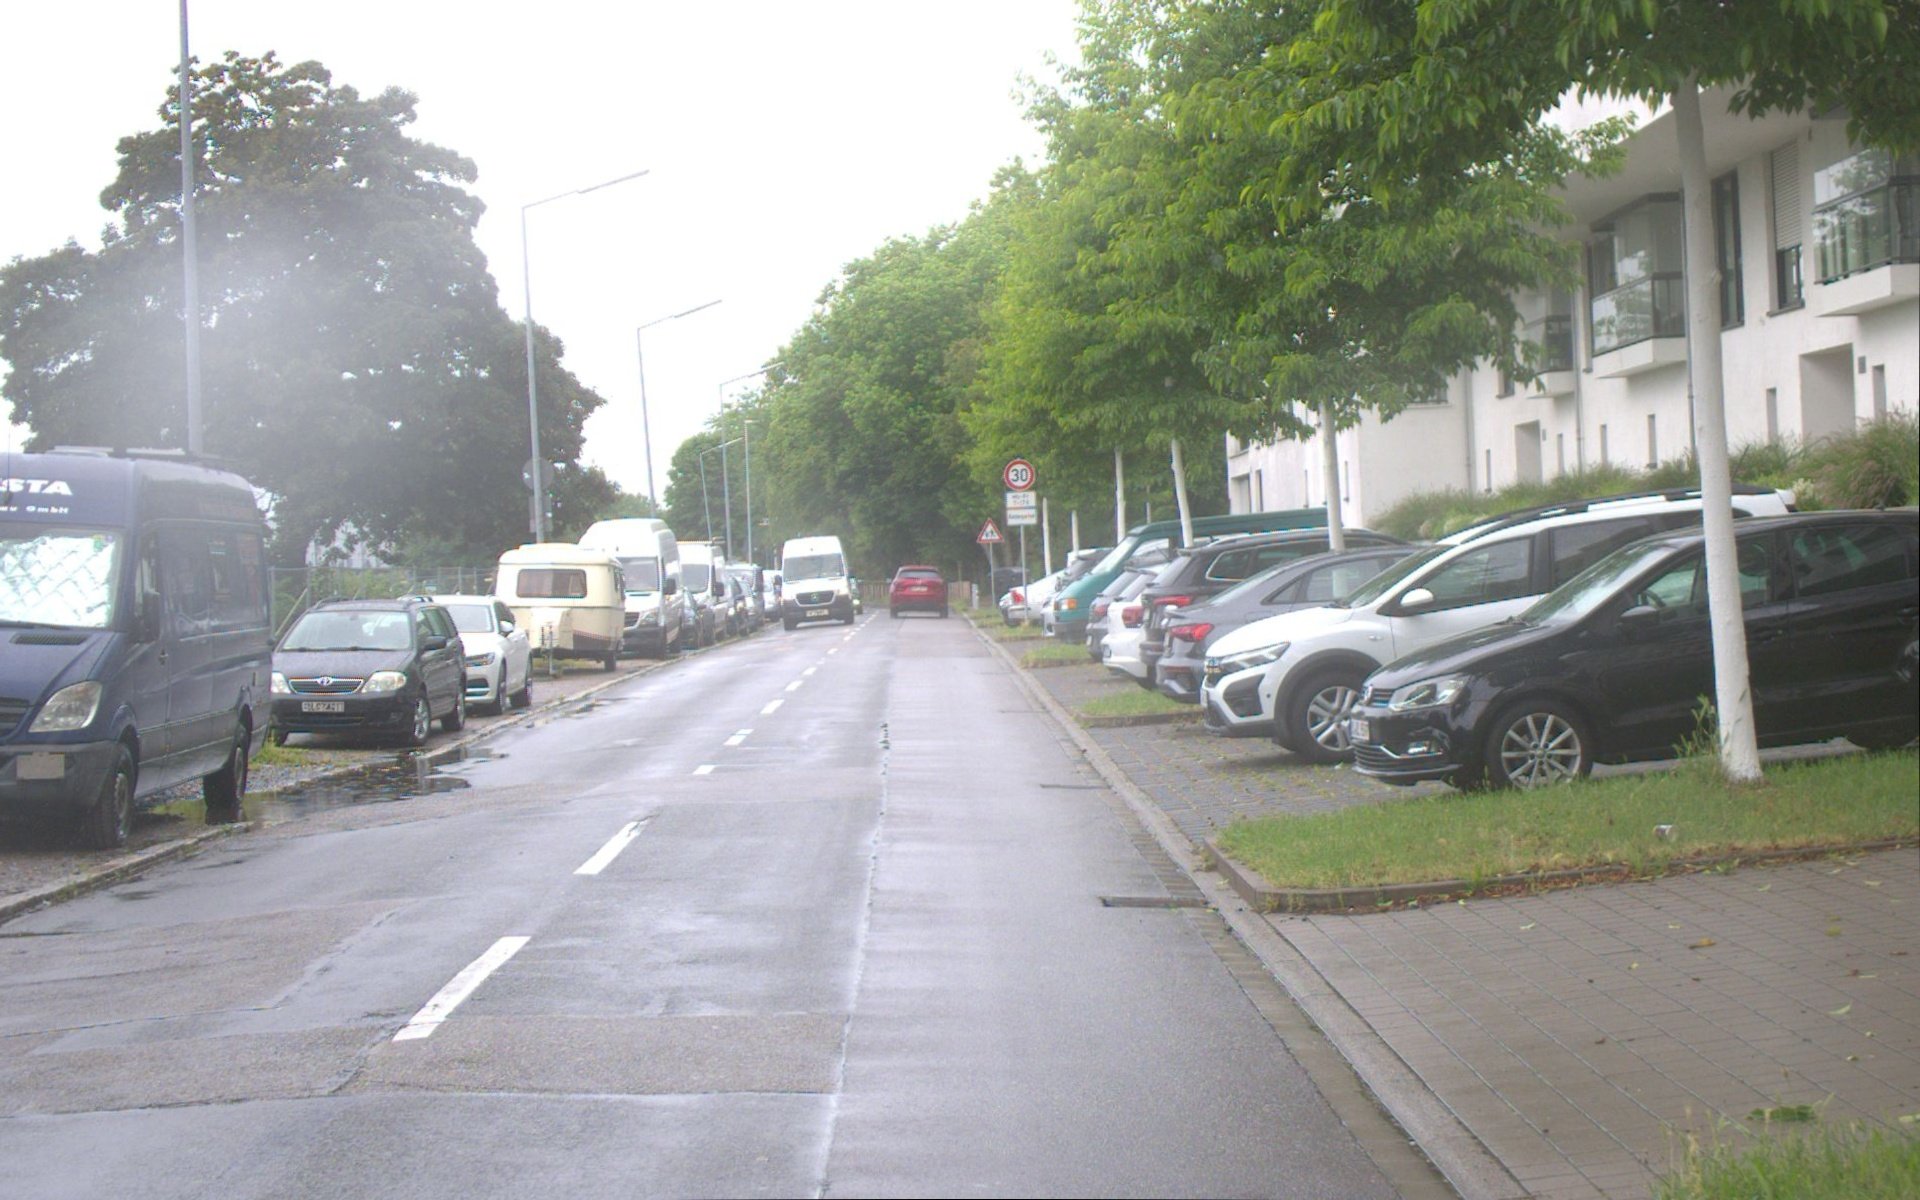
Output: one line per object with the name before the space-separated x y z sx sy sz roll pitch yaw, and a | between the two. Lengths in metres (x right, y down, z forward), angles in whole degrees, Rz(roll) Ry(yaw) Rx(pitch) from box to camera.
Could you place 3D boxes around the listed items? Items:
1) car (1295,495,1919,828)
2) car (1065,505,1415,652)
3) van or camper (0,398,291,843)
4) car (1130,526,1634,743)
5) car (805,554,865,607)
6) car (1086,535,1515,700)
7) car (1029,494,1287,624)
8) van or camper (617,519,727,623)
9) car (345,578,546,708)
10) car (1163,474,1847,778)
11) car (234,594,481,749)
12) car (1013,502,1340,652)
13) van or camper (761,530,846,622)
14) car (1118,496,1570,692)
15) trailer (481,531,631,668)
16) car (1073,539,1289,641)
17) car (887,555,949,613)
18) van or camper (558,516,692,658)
car | 4.102 0.291 19.635 3.987 1.490 1.937 -5 1 -4
car | 3.432 -0.268 42.573 4.030 1.494 1.632 -4 1 -3
van or camper | -6.459 0.122 24.698 2.094 2.706 7.575 0 0 -2
car | 3.551 0.271 29.409 3.987 1.504 1.684 -4 2 -1
car | -4.412 -0.706 121.691 1.882 1.751 4.068 -3 1 1
car | 3.610 0.174 36.897 4.298 1.423 1.637 -4 1 -2
car | 3.266 -0.686 57.273 4.094 1.888 1.726 -4 1 1
van or camper | -7.105 -0.712 85.439 2.189 2.453 6.377 -1 0 0
car | -6.383 0.495 43.160 1.887 1.520 5.110 0 1 -1
car | 3.863 0.158 24.921 4.476 1.681 1.936 -6 1 -2
car | -6.329 0.706 36.596 1.774 1.497 4.828 0 1 0
car | 3.225 -0.347 51.825 4.617 2.012 1.858 -3 0 -4
van or camper | -4.541 -0.718 100.864 1.993 2.488 7.178 -3 1 0
car | 3.806 -0.068 34.593 4.161 1.619 1.898 -4 1 -3
trailer | -6.895 -0.044 59.185 2.058 2.210 5.795 -1 1 -2
car | 3.502 -0.167 54.712 3.254 1.477 1.317 -2 1 -2
car | -1.351 -0.503 108.783 1.756 1.700 4.000 -3 0 -2
van or camper | -6.876 -0.285 71.304 1.993 2.752 7.898 -1 0 0
